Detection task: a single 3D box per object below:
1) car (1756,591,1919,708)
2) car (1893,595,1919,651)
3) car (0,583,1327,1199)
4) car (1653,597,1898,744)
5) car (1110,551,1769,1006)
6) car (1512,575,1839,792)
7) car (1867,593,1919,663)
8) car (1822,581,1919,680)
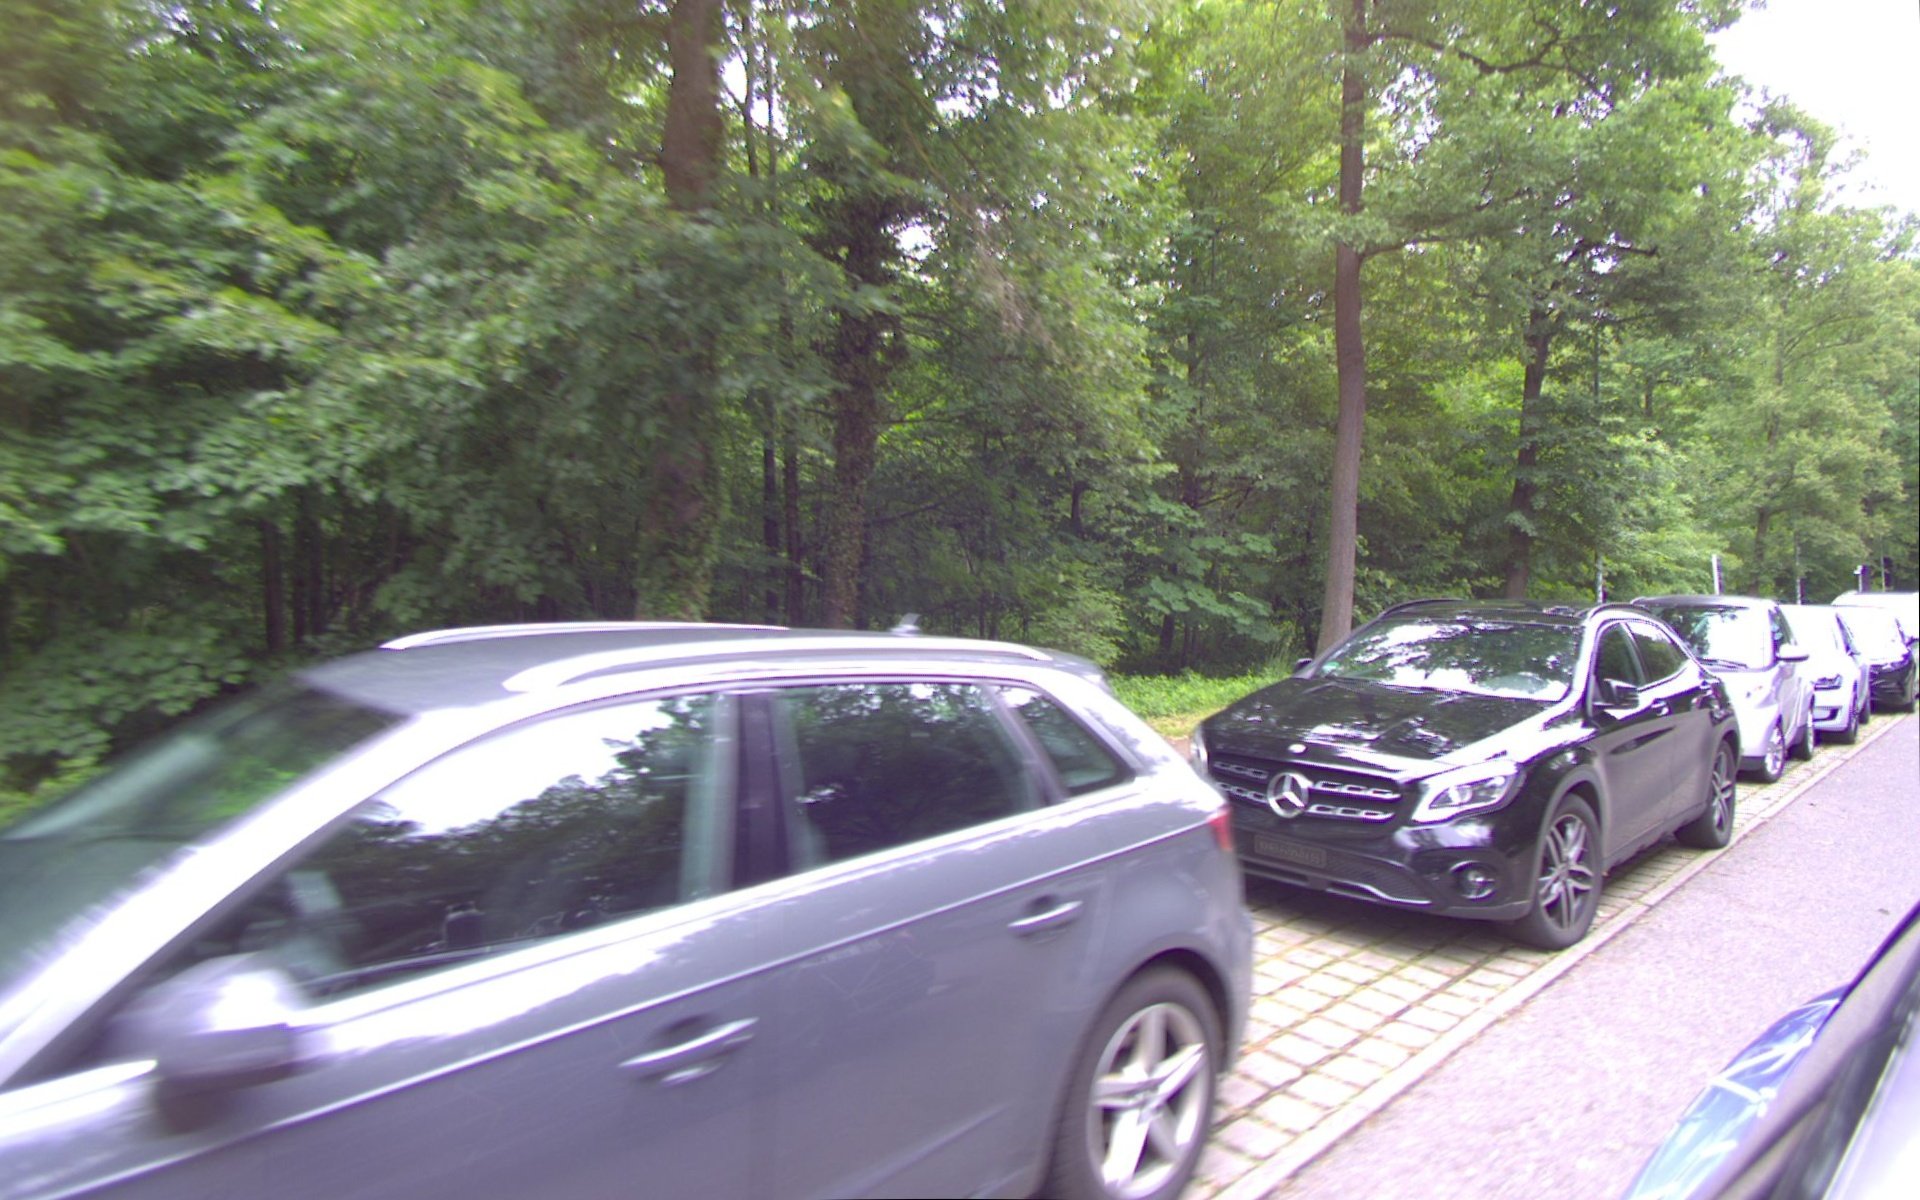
[{"bbox_3d":[13.391,0.624,15.110,4.528,1.493,1.738,0,0,-43],"label":"car"},{"bbox_3d":[26.477,0.586,27.223,4.353,1.424,1.738,0,0,-43],"label":"car"},{"bbox_3d":[-1.191,0.705,2.115,4.422,1.450,1.739,0,0,-41],"label":"car"},{"bbox_3d":[9.814,0.695,12.063,4.085,1.443,1.738,0,0,-43],"label":"car"},{"bbox_3d":[2.921,0.622,5.657,4.305,1.609,1.739,0,0,-41],"label":"car"},{"bbox_3d":[6.748,0.601,9.383,3.941,1.588,1.738,0,0,-43],"label":"car"},{"bbox_3d":[22.066,0.585,23.038,4.690,1.498,1.738,0,0,-43],"label":"car"},{"bbox_3d":[17.764,0.507,19.104,4.987,1.664,1.738,0,0,-43],"label":"car"}]
